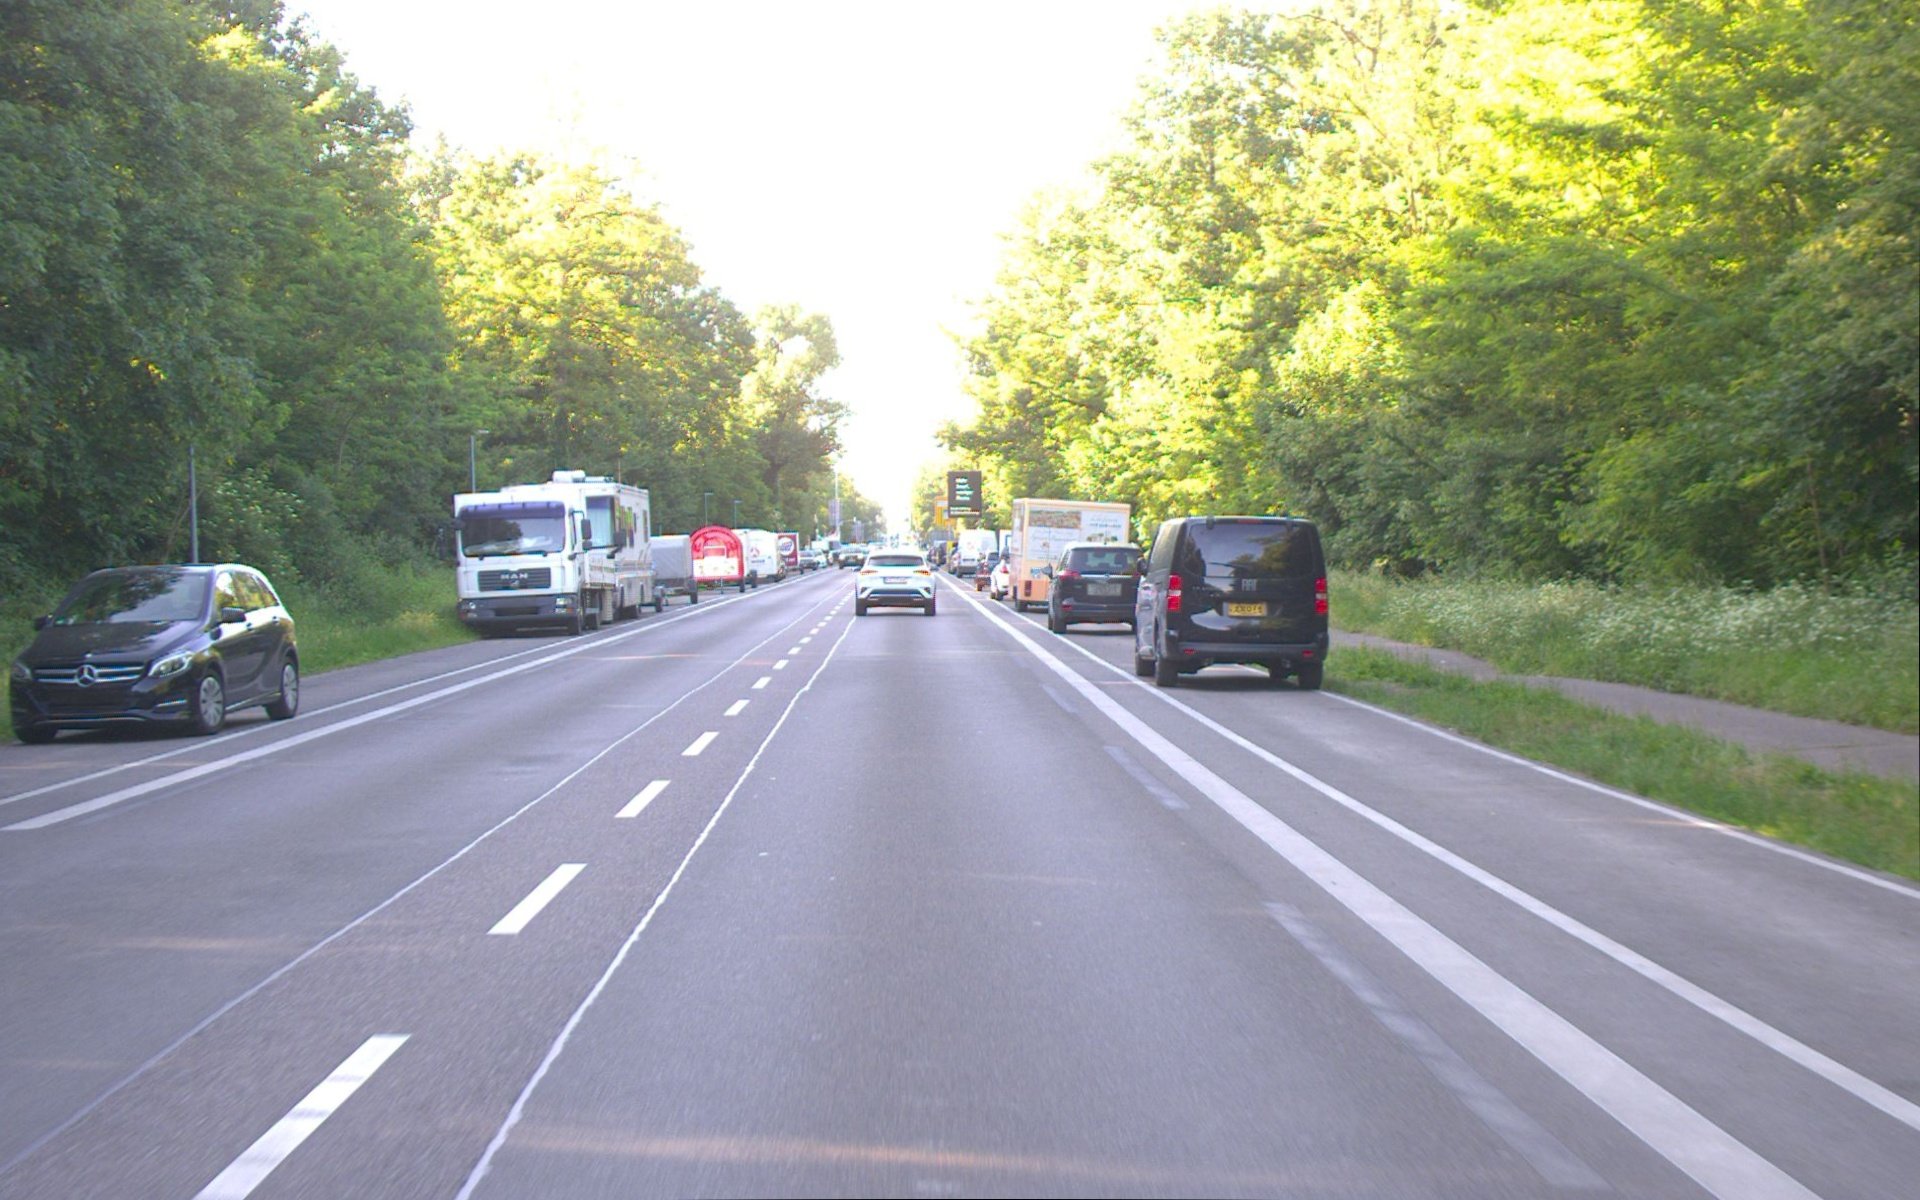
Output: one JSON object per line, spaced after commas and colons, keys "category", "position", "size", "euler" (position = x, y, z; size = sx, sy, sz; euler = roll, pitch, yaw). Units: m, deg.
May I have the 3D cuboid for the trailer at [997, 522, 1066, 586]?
{"category": "trailer", "position": [2.213, -1.445, 107.308], "size": [1.993, 1.963, 4.000], "euler": [-1, 1, -1]}

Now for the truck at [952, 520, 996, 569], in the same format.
{"category": "truck", "position": [0.693, -2.846, 175.445], "size": [2.096, 2.444, 5.680], "euler": [-1, 1, -1]}

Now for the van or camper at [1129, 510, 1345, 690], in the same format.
{"category": "van or camper", "position": [3.130, -0.048, 39.828], "size": [1.993, 1.925, 5.199], "euler": [1, 1, -1]}

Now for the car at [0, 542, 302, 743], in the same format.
{"category": "car", "position": [-7.451, 0.331, 32.049], "size": [1.781, 1.678, 4.378], "euler": [-2, 1, 0]}

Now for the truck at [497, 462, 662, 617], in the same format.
{"category": "truck", "position": [-8.706, -1.412, 79.816], "size": [2.707, 3.336, 10.924], "euler": [0, 1, -1]}

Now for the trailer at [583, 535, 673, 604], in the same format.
{"category": "trailer", "position": [-8.667, -0.813, 90.103], "size": [1.993, 1.744, 4.328], "euler": [-1, 1, -1]}

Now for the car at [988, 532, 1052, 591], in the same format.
{"category": "car", "position": [1.731, -1.149, 100.626], "size": [1.732, 1.678, 4.000], "euler": [-1, 1, -1]}

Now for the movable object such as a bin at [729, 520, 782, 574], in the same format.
{"category": "movable object such as a bin", "position": [-9.797, -2.546, 164.722], "size": [2.322, 2.493, 4.000], "euler": [-1, 1, -1]}

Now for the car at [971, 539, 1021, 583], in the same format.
{"category": "car", "position": [1.262, -1.378, 120.625], "size": [1.656, 1.473, 3.754], "euler": [-1, 1, -1]}

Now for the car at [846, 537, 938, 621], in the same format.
{"category": "car", "position": [-1.541, -0.512, 78.752], "size": [2.028, 1.834, 4.029], "euler": [-1, 1, 0]}

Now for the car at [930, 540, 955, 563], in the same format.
{"category": "car", "position": [-1.174, -3.214, 228.499], "size": [1.656, 1.473, 3.754], "euler": [-1, 1, -1]}

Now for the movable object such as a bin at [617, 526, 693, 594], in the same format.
{"category": "movable object such as a bin", "position": [-9.162, -1.213, 103.554], "size": [1.953, 2.007, 4.000], "euler": [-1, 1, -1]}

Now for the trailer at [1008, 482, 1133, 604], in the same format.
{"category": "trailer", "position": [2.655, -1.409, 84.623], "size": [2.757, 2.860, 6.589], "euler": [-1, 1, -1]}

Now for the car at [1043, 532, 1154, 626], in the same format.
{"category": "car", "position": [2.487, -0.405, 62.586], "size": [1.841, 1.656, 4.000], "euler": [0, 1, 0]}

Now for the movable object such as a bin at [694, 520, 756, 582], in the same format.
{"category": "movable object such as a bin", "position": [-9.677, -2.026, 142.079], "size": [2.322, 2.493, 4.000], "euler": [-1, 1, -1]}

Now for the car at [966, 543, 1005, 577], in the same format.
{"category": "car", "position": [1.119, -1.784, 151.792], "size": [1.656, 1.473, 3.754], "euler": [-1, 1, -1]}

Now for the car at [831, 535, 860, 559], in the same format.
{"category": "car", "position": [-8.405, -3.897, 251.586], "size": [1.993, 1.672, 4.000], "euler": [-2, 1, -1]}

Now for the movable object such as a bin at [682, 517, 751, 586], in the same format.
{"category": "movable object such as a bin", "position": [-9.040, -1.816, 127.872], "size": [2.322, 2.493, 4.000], "euler": [-1, 1, -1]}

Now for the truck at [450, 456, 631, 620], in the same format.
{"category": "truck", "position": [-8.292, -1.243, 68.767], "size": [2.707, 3.083, 7.990], "euler": [0, 1, -1]}

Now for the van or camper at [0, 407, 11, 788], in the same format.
{"category": "van or camper", "position": [-7.500, 0.058, 20.059], "size": [2.121, 2.563, 6.542], "euler": [-1, 1, -1]}
